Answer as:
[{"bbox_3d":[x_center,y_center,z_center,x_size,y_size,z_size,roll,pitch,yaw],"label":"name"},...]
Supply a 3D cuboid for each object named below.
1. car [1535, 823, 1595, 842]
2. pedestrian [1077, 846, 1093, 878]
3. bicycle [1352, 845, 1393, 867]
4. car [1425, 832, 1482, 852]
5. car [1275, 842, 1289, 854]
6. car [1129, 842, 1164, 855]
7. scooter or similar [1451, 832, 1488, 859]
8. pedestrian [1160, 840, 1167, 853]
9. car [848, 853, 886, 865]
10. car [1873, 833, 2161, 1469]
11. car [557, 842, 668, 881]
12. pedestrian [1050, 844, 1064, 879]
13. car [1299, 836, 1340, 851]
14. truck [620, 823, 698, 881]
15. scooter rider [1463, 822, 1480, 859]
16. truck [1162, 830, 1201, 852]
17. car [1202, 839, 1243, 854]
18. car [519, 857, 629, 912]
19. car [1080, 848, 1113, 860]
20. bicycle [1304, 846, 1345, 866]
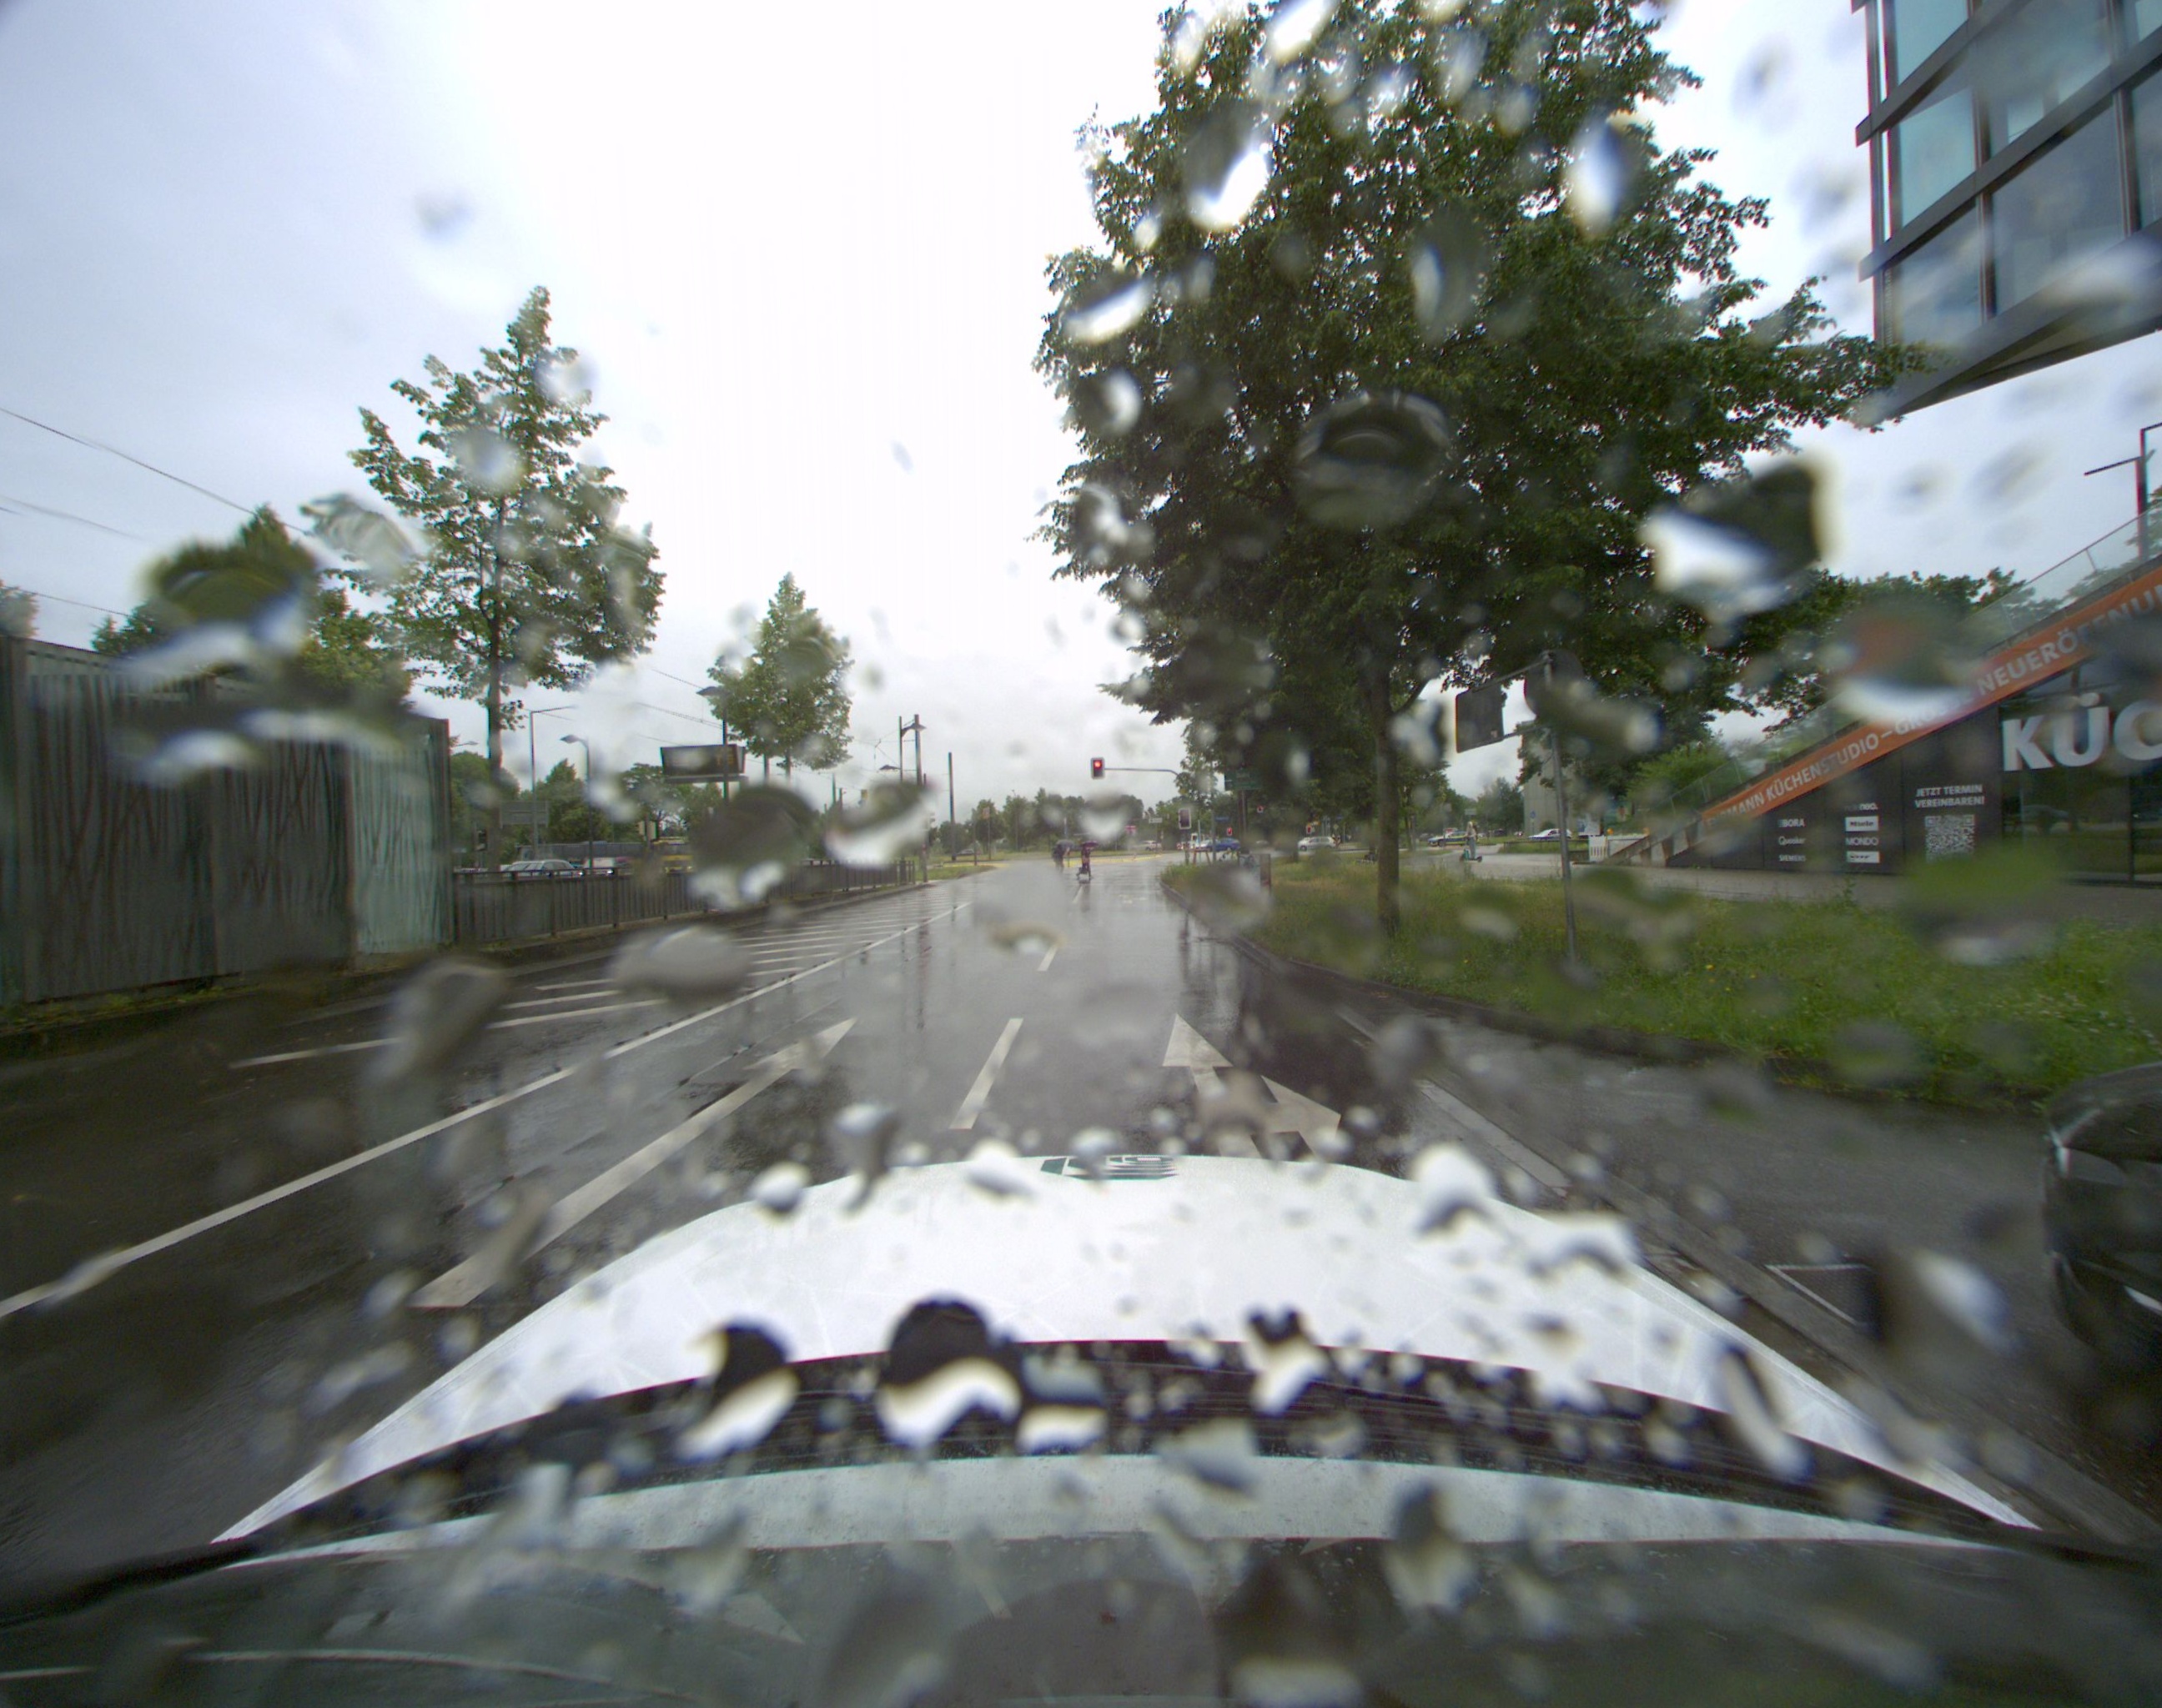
[{"bbox_3d":[47.740,-2.119,80.374,4.729,1.851,2.006,0,0,12],"label":"car"},{"bbox_3d":[0.187,0.374,37.726,0.678,1.461,0.573,-3,-1,-2],"label":"pedestrian"},{"bbox_3d":[11.123,0.075,31.160,0.453,0.787,1.999,1,0,-14],"label":"bicycle"},{"bbox_3d":[36.774,-1.176,80.536,4.746,1.851,2.000,-2,1,-1],"label":"car"},{"bbox_3d":[24.702,-0.759,100.058,1.606,1.454,4.004,-1,1,15],"label":"car"},{"bbox_3d":[7.811,-0.677,97.344,4.061,1.454,1.633,-1,1,44],"label":"car"},{"bbox_3d":[18.331,-0.397,38.414,1.582,1.259,0.447,1,0,-4],"label":"scooter or similar"},{"bbox_3d":[8.494,-0.757,84.057,0.448,1.304,0.489,-1,1,41],"label":"pedestrian"},{"bbox_3d":[-27.577,0.638,104.985,4.628,1.454,1.611,-2,1,-23],"label":"car"},{"bbox_3d":[4.197,0.630,1.111,1.842,1.420,4.295,-1,0,-40],"label":"car"},{"bbox_3d":[-48.436,0.826,84.716,2.429,3.721,11.013,-3,-2,19],"label":"car"},{"bbox_3d":[-1.079,0.326,36.616,0.618,1.522,0.741,0,0,1],"label":"pedestrian"},{"bbox_3d":[24.128,-1.077,82.404,3.942,1.454,1.631,-1,1,19],"label":"car"},{"bbox_3d":[-30.234,-0.144,58.158,2.710,3.778,9.072,1,0,-42],"label":"truck"},{"bbox_3d":[18.405,-0.642,38.409,0.530,1.709,0.433,-2,0,-4],"label":"scooter rider"},{"bbox_3d":[12.810,-1.614,103.378,2.438,2.686,8.106,0,0,25],"label":"truck"},{"bbox_3d":[14.966,-0.759,86.253,3.936,1.454,1.634,-1,1,39],"label":"car"},{"bbox_3d":[-20.518,1.173,33.170,1.749,2.013,4.003,-2,0,3],"label":"car"},{"bbox_3d":[1.974,-0.020,105.193,3.936,1.454,1.634,-1,1,29],"label":"car"},{"bbox_3d":[10.117,0.077,33.881,0.382,0.787,1.841,1,0,-31],"label":"bicycle"}]
